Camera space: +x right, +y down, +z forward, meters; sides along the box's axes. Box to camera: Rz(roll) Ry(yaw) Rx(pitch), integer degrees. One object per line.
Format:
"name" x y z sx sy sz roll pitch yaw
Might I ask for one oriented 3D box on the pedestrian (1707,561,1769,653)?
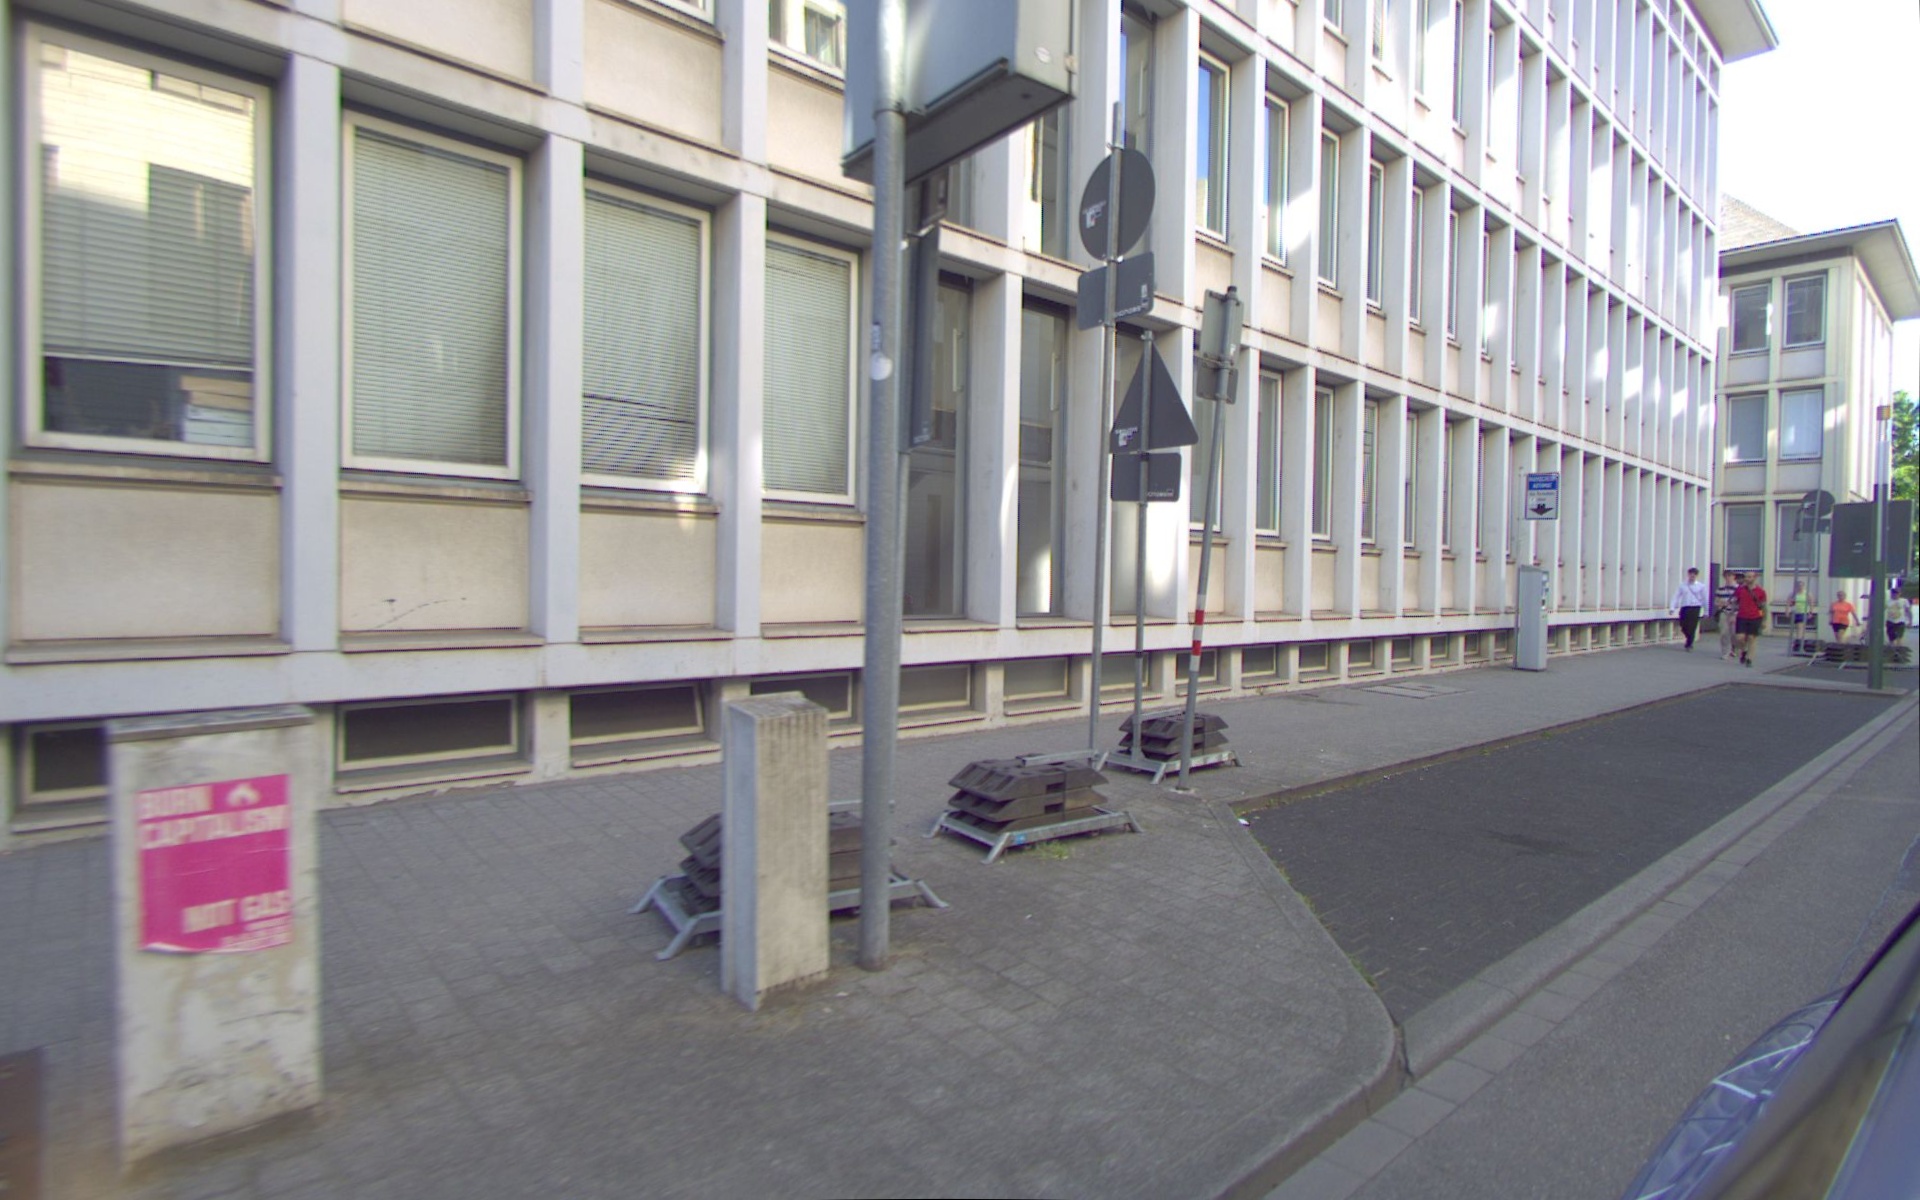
"pedestrian" 15.943 0.132 20.735 0.681 1.799 0.685 0 7 -40

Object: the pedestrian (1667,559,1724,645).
"pedestrian" 16.258 0.033 22.374 0.681 1.799 0.685 0 7 -40

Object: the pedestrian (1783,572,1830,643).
"pedestrian" 21.710 0.174 25.963 0.681 1.736 0.685 0 5 -40

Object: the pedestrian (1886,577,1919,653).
"pedestrian" 22.541 0.346 23.971 0.681 1.736 0.685 0 5 -40

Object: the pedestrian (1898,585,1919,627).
"pedestrian" 38.264 0.221 40.812 0.624 1.662 0.614 0 1 43

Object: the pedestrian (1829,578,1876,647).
"pedestrian" 22.339 0.301 25.334 0.681 1.656 0.685 0 4 -40

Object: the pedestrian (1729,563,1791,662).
"pedestrian" 15.217 0.229 19.256 0.583 1.799 0.685 0 5 -40

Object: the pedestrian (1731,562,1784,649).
"pedestrian" 17.092 0.109 21.699 0.681 1.800 0.685 0 3 -40
